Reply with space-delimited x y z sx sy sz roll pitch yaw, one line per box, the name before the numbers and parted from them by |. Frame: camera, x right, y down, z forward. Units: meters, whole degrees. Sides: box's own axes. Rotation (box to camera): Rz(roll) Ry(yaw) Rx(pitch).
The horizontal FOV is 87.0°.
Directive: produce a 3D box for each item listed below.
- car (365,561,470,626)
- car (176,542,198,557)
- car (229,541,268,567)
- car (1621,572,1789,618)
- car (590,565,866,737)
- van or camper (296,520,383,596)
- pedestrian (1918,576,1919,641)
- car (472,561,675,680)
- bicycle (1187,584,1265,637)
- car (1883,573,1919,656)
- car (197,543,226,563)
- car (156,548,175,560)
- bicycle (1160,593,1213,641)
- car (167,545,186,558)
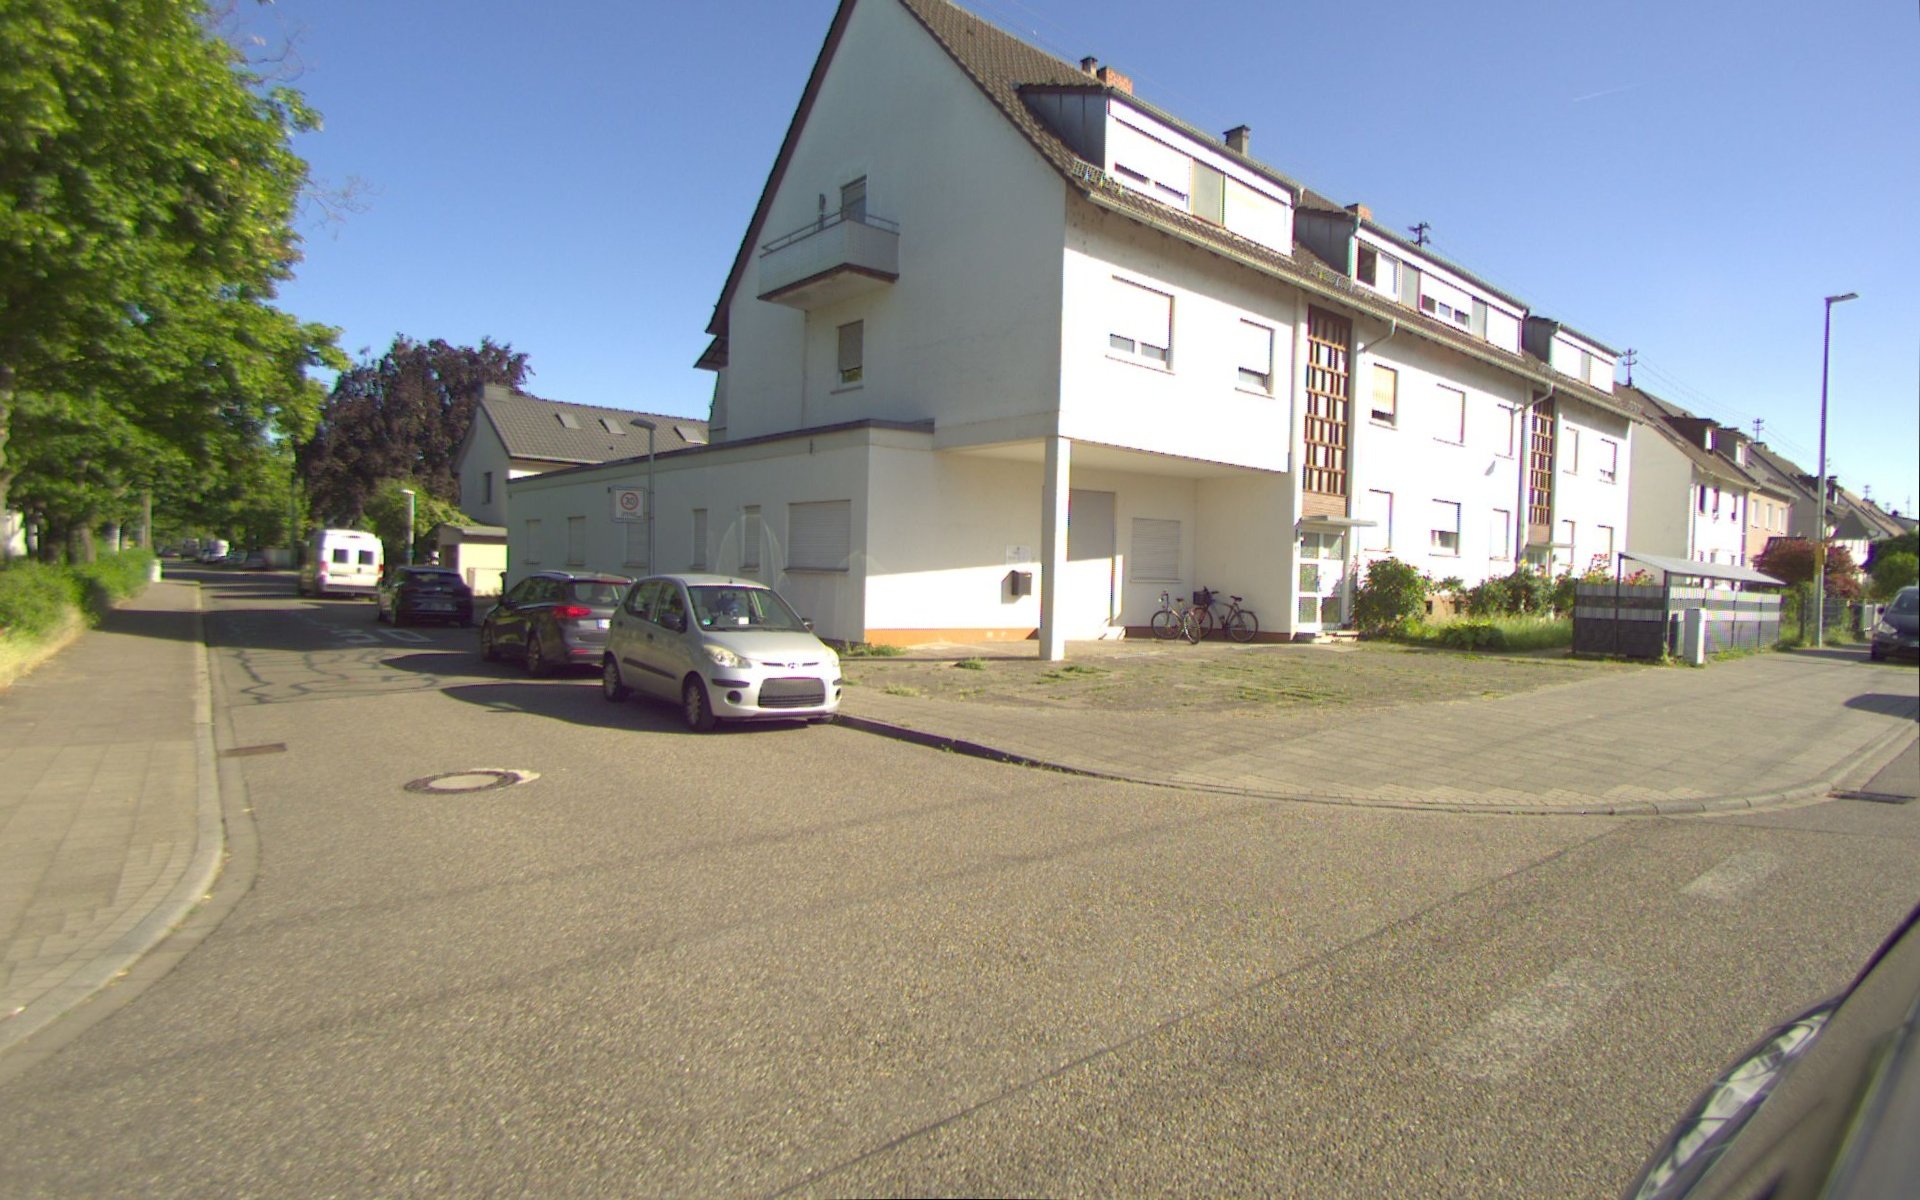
car | -13.378 -0.199 24.859 1.610 1.464 3.706 0 2 -39
car | -107.833 -7.035 141.197 2.392 1.941 5.150 0 1 -37
car | -57.774 -3.689 82.101 2.392 1.941 5.150 0 1 -37
car | 27.527 -0.238 37.536 1.874 1.495 4.720 -1 3 -42
car | -2.724 0.412 11.334 1.617 1.549 3.604 -1 3 -38
van or camper | -24.160 -1.569 39.314 2.205 2.723 5.059 0 1 -40
pedestrian | 28.838 0.257 29.840 0.744 1.936 0.701 0 0 -32
car | -5.948 0.205 15.289 1.712 1.516 4.012 0 2 -39
bicycle | 5.447 0.196 20.805 0.326 1.015 1.713 0 1 -37
car | 21.581 0.346 21.906 4.777 1.648 1.795 0 4 -42
car | -78.422 -4.874 106.026 2.392 1.941 5.150 0 1 -37
car | -135.092 -7.783 172.055 2.392 1.869 5.044 0 1 -37
bicycle | 4.418 0.320 19.842 0.481 0.882 1.546 0 1 -8
car | -125.016 -7.702 161.547 2.392 1.941 5.150 0 1 -37
